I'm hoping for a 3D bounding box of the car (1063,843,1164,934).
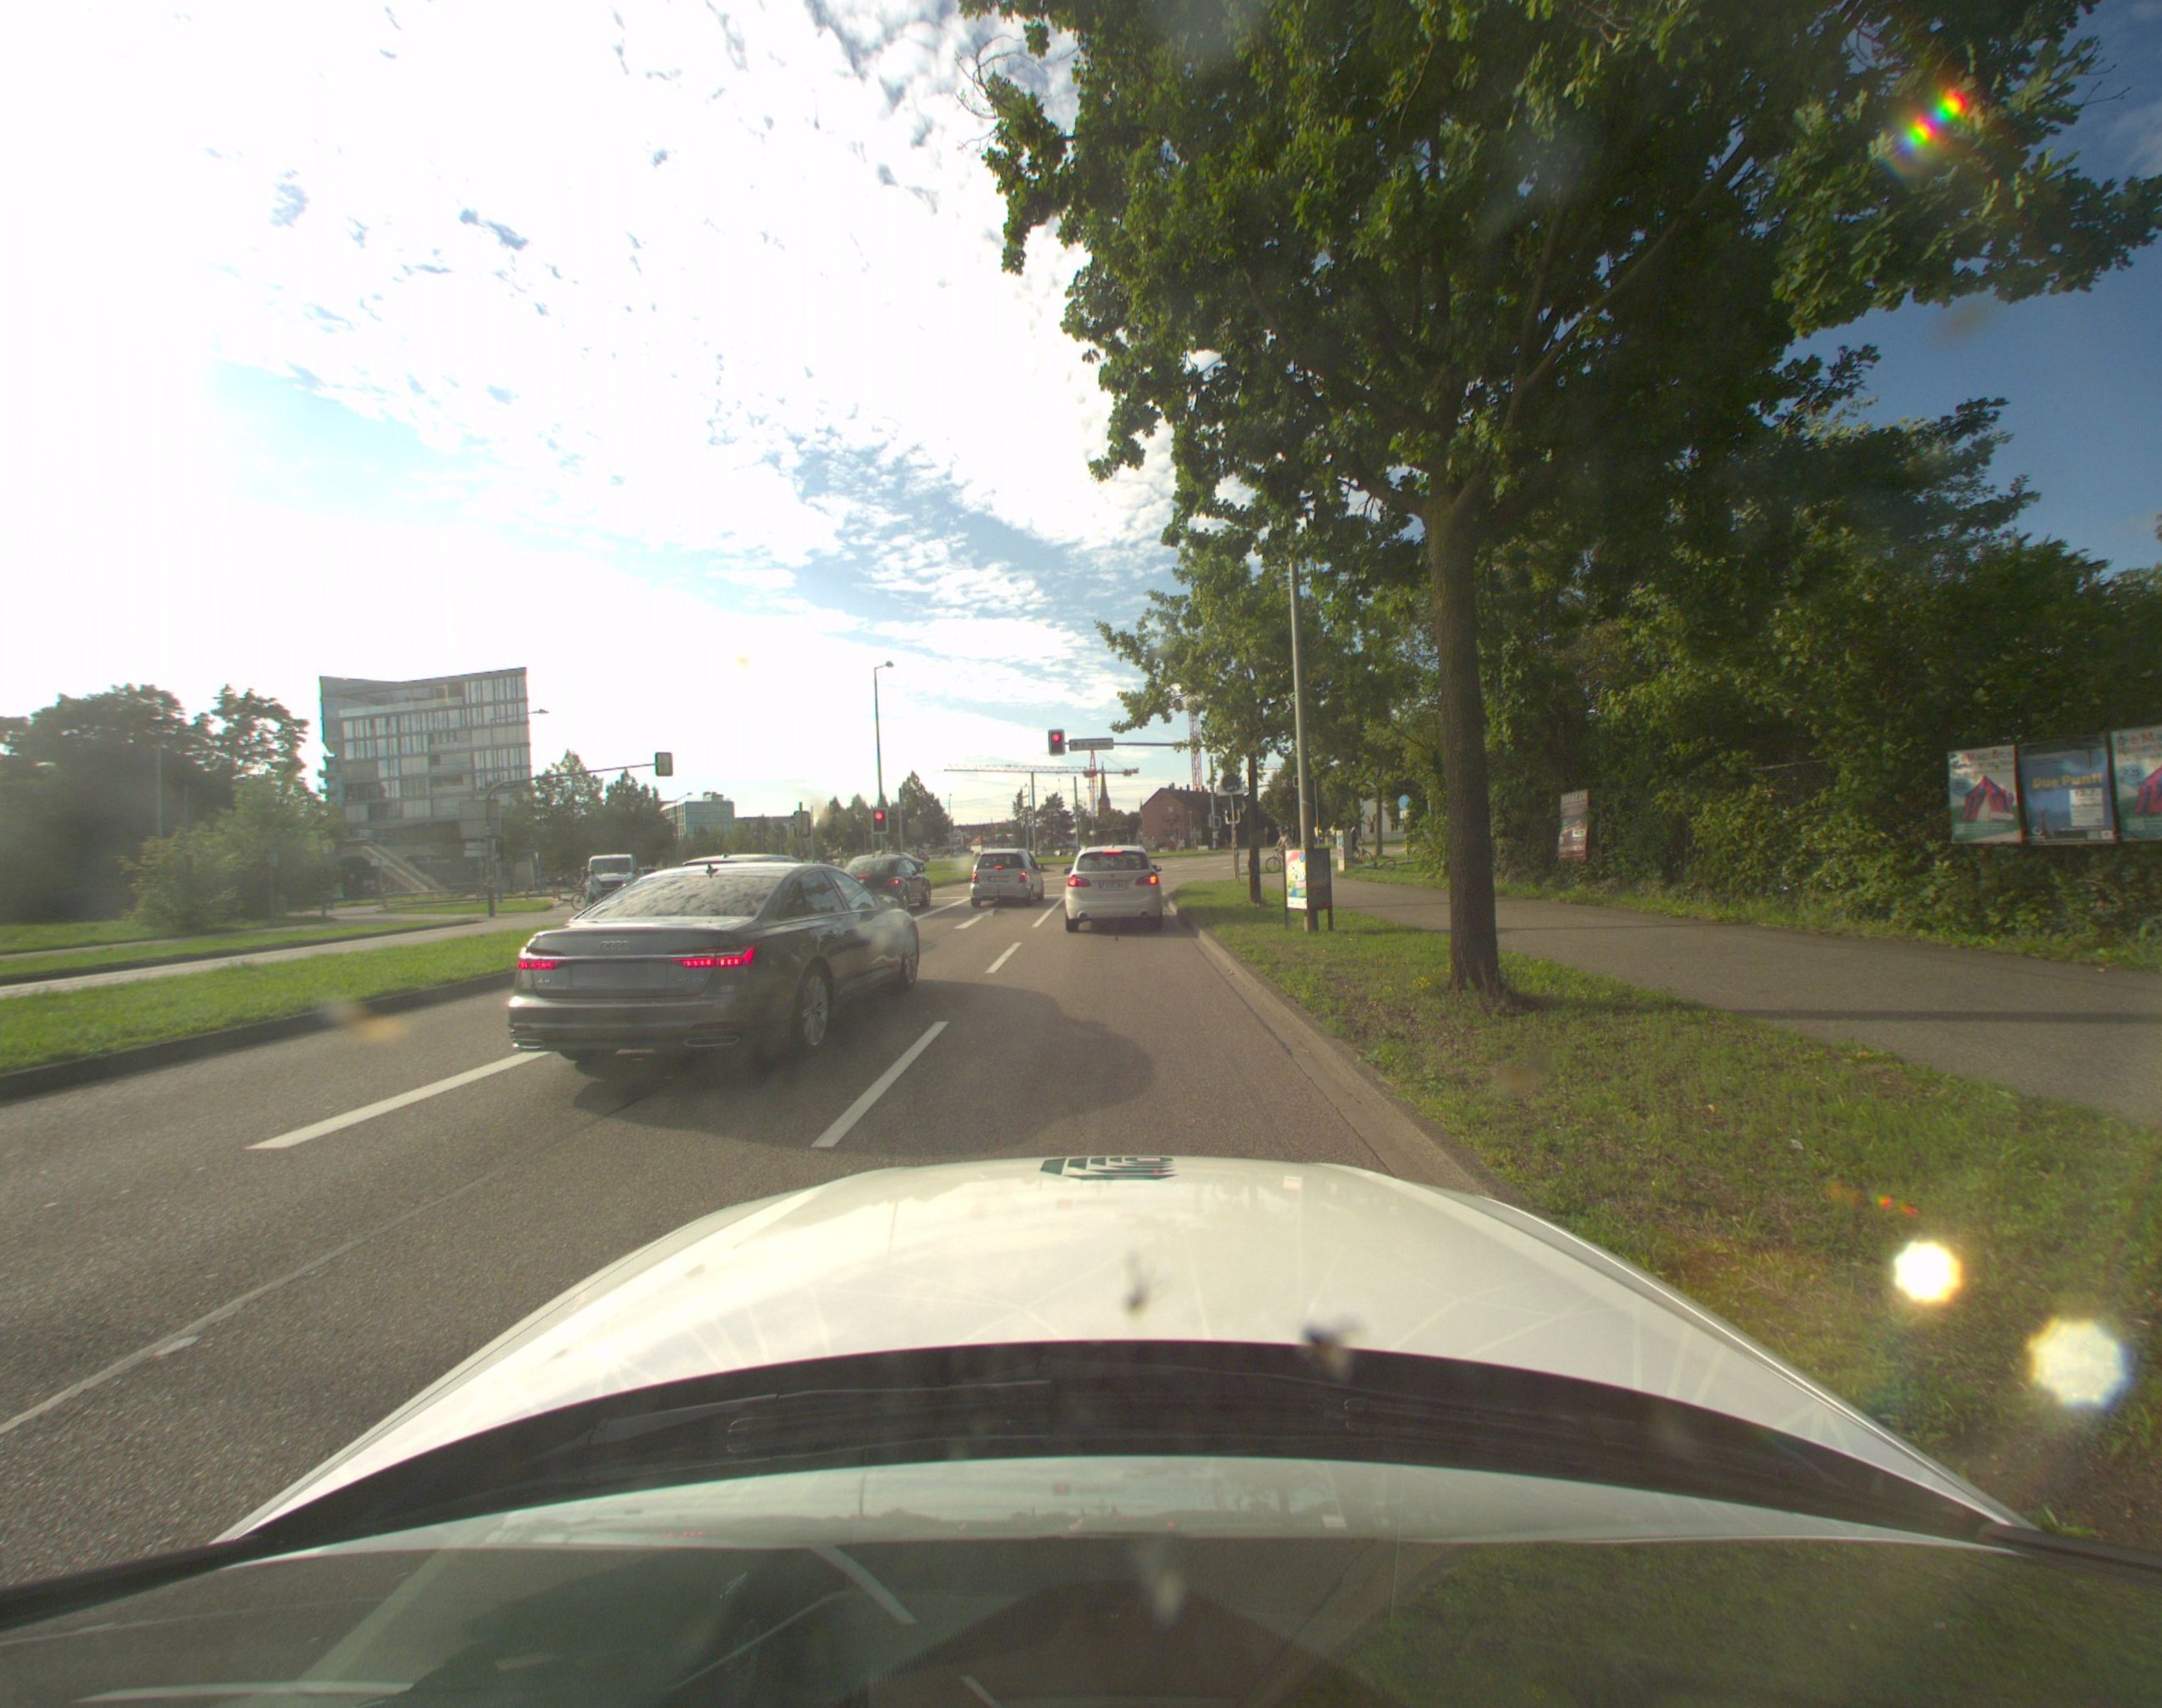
[{"bbox_3d":[0.629,0.587,16.260,1.723,1.558,4.060,-1,0,2],"label":"car"}]

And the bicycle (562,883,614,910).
[{"bbox_3d":[-20.290,1.741,33.509,1.670,0.967,0.643,-3,0,-4],"label":"bicycle"}]

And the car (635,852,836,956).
[{"bbox_3d":[-5.963,0.769,14.643,1.722,1.558,4.021,-2,0,2],"label":"car"}]

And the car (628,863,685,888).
[{"bbox_3d":[-38.648,1.943,74.249,1.804,2.014,4.263,-4,-1,29],"label":"car"}]

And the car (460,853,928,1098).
[{"bbox_3d":[-2.851,0.760,7.381,1.883,1.483,4.614,-1,0,2],"label":"car"}]

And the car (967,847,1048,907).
[{"bbox_3d":[-2.016,0.584,23.514,1.722,1.558,4.061,-1,0,3],"label":"car"}]

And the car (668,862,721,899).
[{"bbox_3d":[-18.632,1.252,39.405,1.710,1.573,3.975,-4,0,-18],"label":"car"}]

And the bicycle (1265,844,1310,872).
[{"bbox_3d":[8.917,0.171,35.198,1.728,1.163,0.652,-3,0,-15],"label":"bicycle"}]

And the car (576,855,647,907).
[{"bbox_3d":[-23.027,1.281,40.204,2.001,2.235,5.882,-4,0,-21],"label":"car"}]

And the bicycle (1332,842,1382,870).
[{"bbox_3d":[11.136,0.075,32.904,1.771,1.050,0.708,-2,0,-11],"label":"bicycle"}]

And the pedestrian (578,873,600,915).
[{"bbox_3d":[-19.102,1.556,31.626,0.659,1.569,0.609,-2,0,-32],"label":"pedestrian"}]

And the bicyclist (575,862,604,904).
[{"bbox_3d":[-20.218,1.189,33.515,0.786,1.668,0.549,-3,0,-3],"label":"bicyclist"}]

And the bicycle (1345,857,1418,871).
[{"bbox_3d":[10.791,0.344,29.371,1.407,0.385,2.568,-3,0,-9],"label":"bicycle"}]

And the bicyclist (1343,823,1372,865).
[{"bbox_3d":[11.155,-0.413,32.906,0.830,1.647,0.683,-2,0,-11],"label":"bicyclist"}]

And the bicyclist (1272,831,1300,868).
[{"bbox_3d":[8.834,-0.196,35.165,0.850,1.526,0.737,-3,0,-15],"label":"bicyclist"}]

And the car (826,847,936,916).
[{"bbox_3d":[-5.028,0.637,21.030,1.714,1.564,3.880,-1,1,2],"label":"car"}]

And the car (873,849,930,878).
[{"bbox_3d":[-11.312,0.607,51.405,3.182,1.573,1.573,-3,1,-4],"label":"car"}]
